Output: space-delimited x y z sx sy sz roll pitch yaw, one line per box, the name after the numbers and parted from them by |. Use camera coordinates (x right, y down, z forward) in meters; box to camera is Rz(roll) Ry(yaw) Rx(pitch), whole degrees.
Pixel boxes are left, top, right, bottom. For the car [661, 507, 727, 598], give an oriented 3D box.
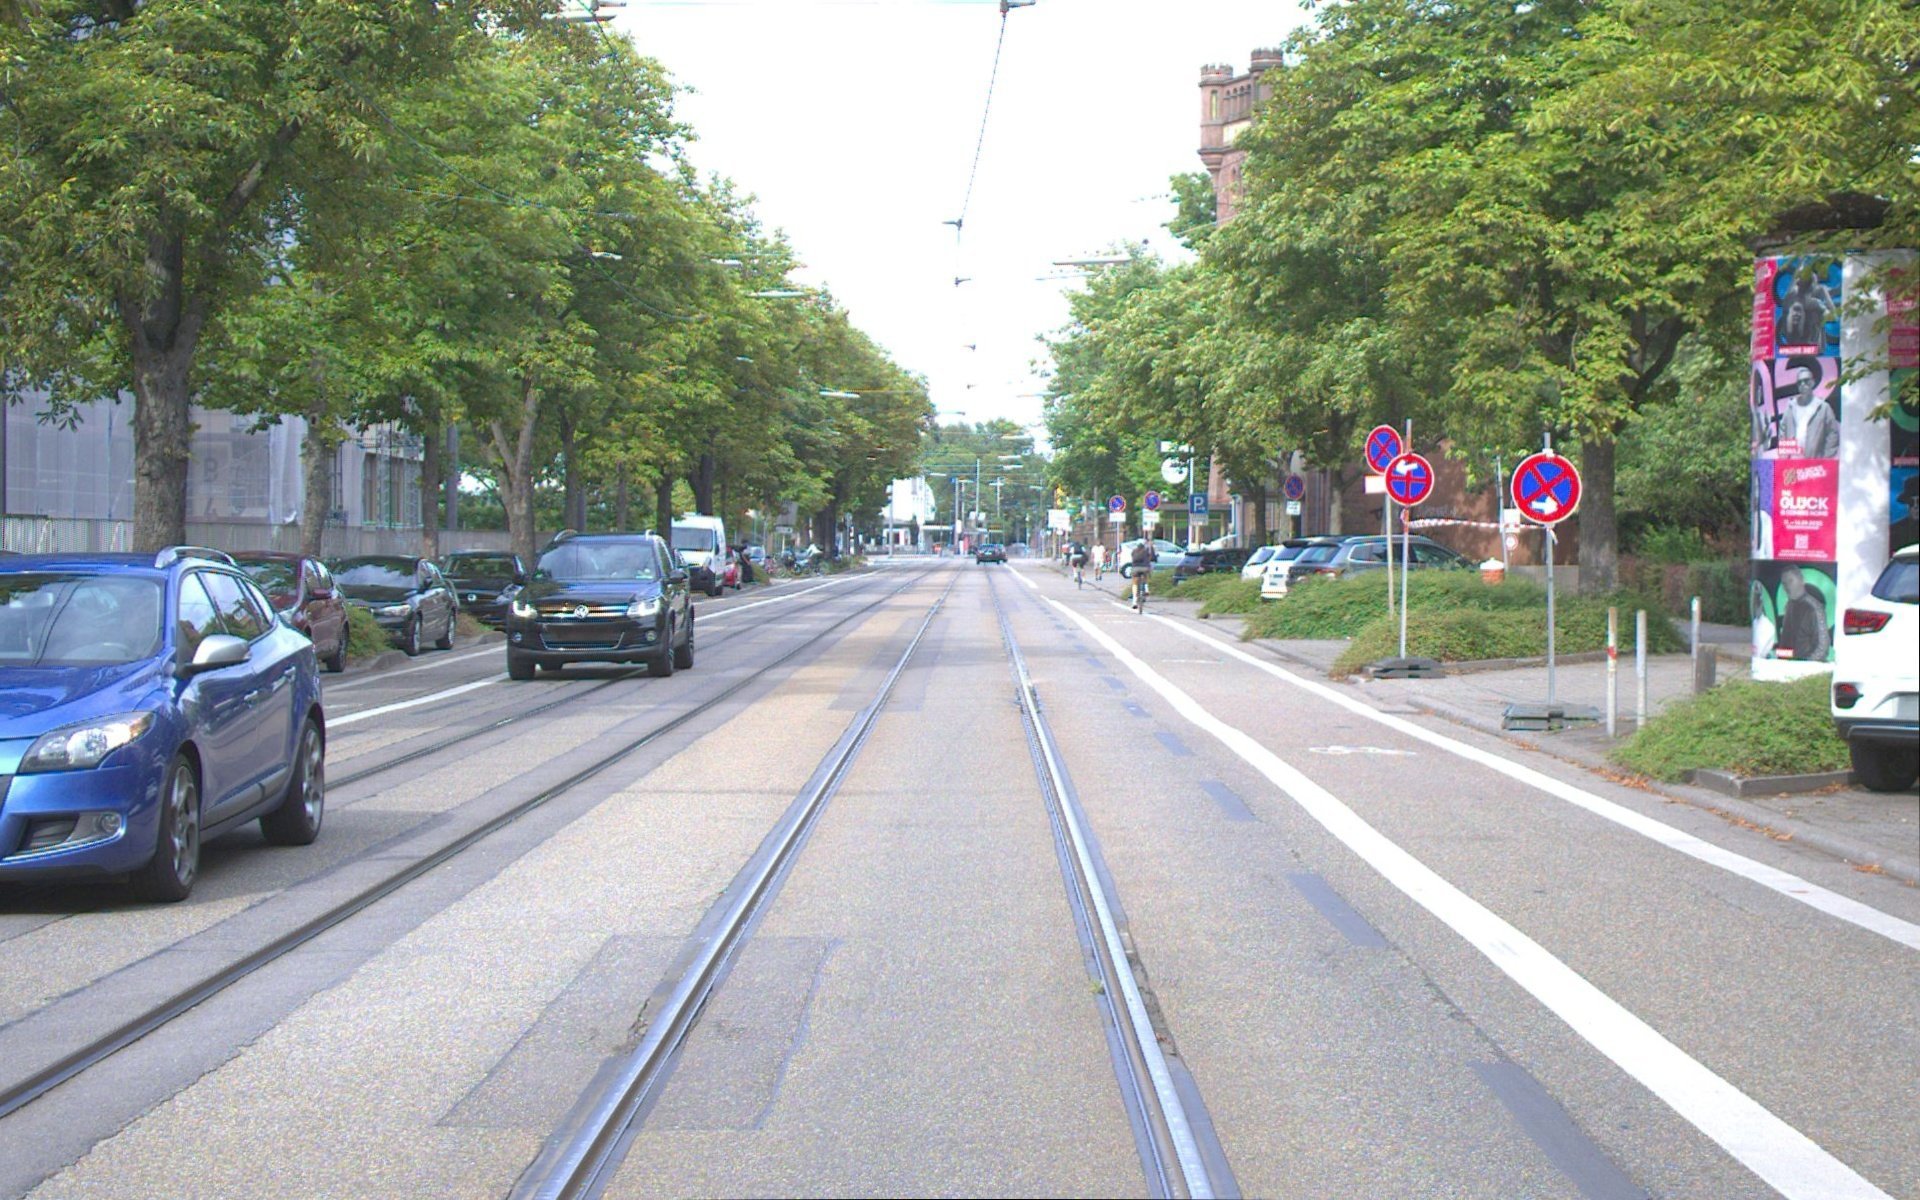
-8.146 -1.466 105.618 1.720 2.695 5.471 1 1 -2 | car

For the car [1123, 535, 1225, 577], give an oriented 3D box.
8.940 -1.833 143.821 3.986 1.687 2.000 1 1 -5 | car

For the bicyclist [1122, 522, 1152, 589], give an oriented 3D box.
3.927 -0.988 76.272 0.592 1.454 0.875 1 1 -2 | bicyclist

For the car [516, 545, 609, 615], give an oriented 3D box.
-8.284 -0.439 71.860 1.590 1.398 3.963 1 1 -2 | car

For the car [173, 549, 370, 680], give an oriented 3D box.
-8.369 0.140 42.053 1.635 1.491 3.963 1 1 -1 | car

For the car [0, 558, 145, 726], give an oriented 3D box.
-8.662 0.333 31.395 1.590 1.398 3.963 1 1 -2 | car

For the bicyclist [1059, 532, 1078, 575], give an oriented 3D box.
3.853 -1.655 122.158 0.659 1.491 0.929 1 1 1 | bicyclist

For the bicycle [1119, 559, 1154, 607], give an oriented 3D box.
3.916 -0.383 76.280 0.592 1.040 1.978 1 1 -2 | bicycle

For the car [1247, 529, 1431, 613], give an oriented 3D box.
7.451 -0.572 67.466 1.681 1.597 3.637 1 1 45 | car

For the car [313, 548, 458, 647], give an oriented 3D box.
-8.521 -0.067 51.252 1.590 1.398 3.963 1 1 -2 | car

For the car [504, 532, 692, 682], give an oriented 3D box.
-4.136 0.038 39.880 1.732 1.623 4.378 -1 1 0 | car

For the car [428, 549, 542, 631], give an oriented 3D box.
-8.478 -0.200 61.564 1.590 1.398 3.963 1 1 -2 | car

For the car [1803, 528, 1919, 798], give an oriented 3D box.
7.019 0.372 21.629 1.681 1.597 3.637 1 1 45 | car

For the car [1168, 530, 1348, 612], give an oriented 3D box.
6.049 -0.584 69.618 1.681 1.597 3.637 1 1 45 | car

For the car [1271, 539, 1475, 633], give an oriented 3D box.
7.325 -0.252 60.747 1.681 1.597 3.637 1 1 45 | car

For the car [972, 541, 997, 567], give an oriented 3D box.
1.796 -3.402 252.687 1.795 1.817 4.679 1 1 0 | car

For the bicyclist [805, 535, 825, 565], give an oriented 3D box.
-7.148 -2.477 169.779 0.847 1.499 0.768 1 1 8 | bicyclist

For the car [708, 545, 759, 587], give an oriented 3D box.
-7.779 -1.180 118.107 1.590 1.398 3.963 1 1 -2 | car

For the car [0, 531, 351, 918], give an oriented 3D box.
-4.029 0.443 15.581 1.732 1.491 4.378 0 1 0 | car
